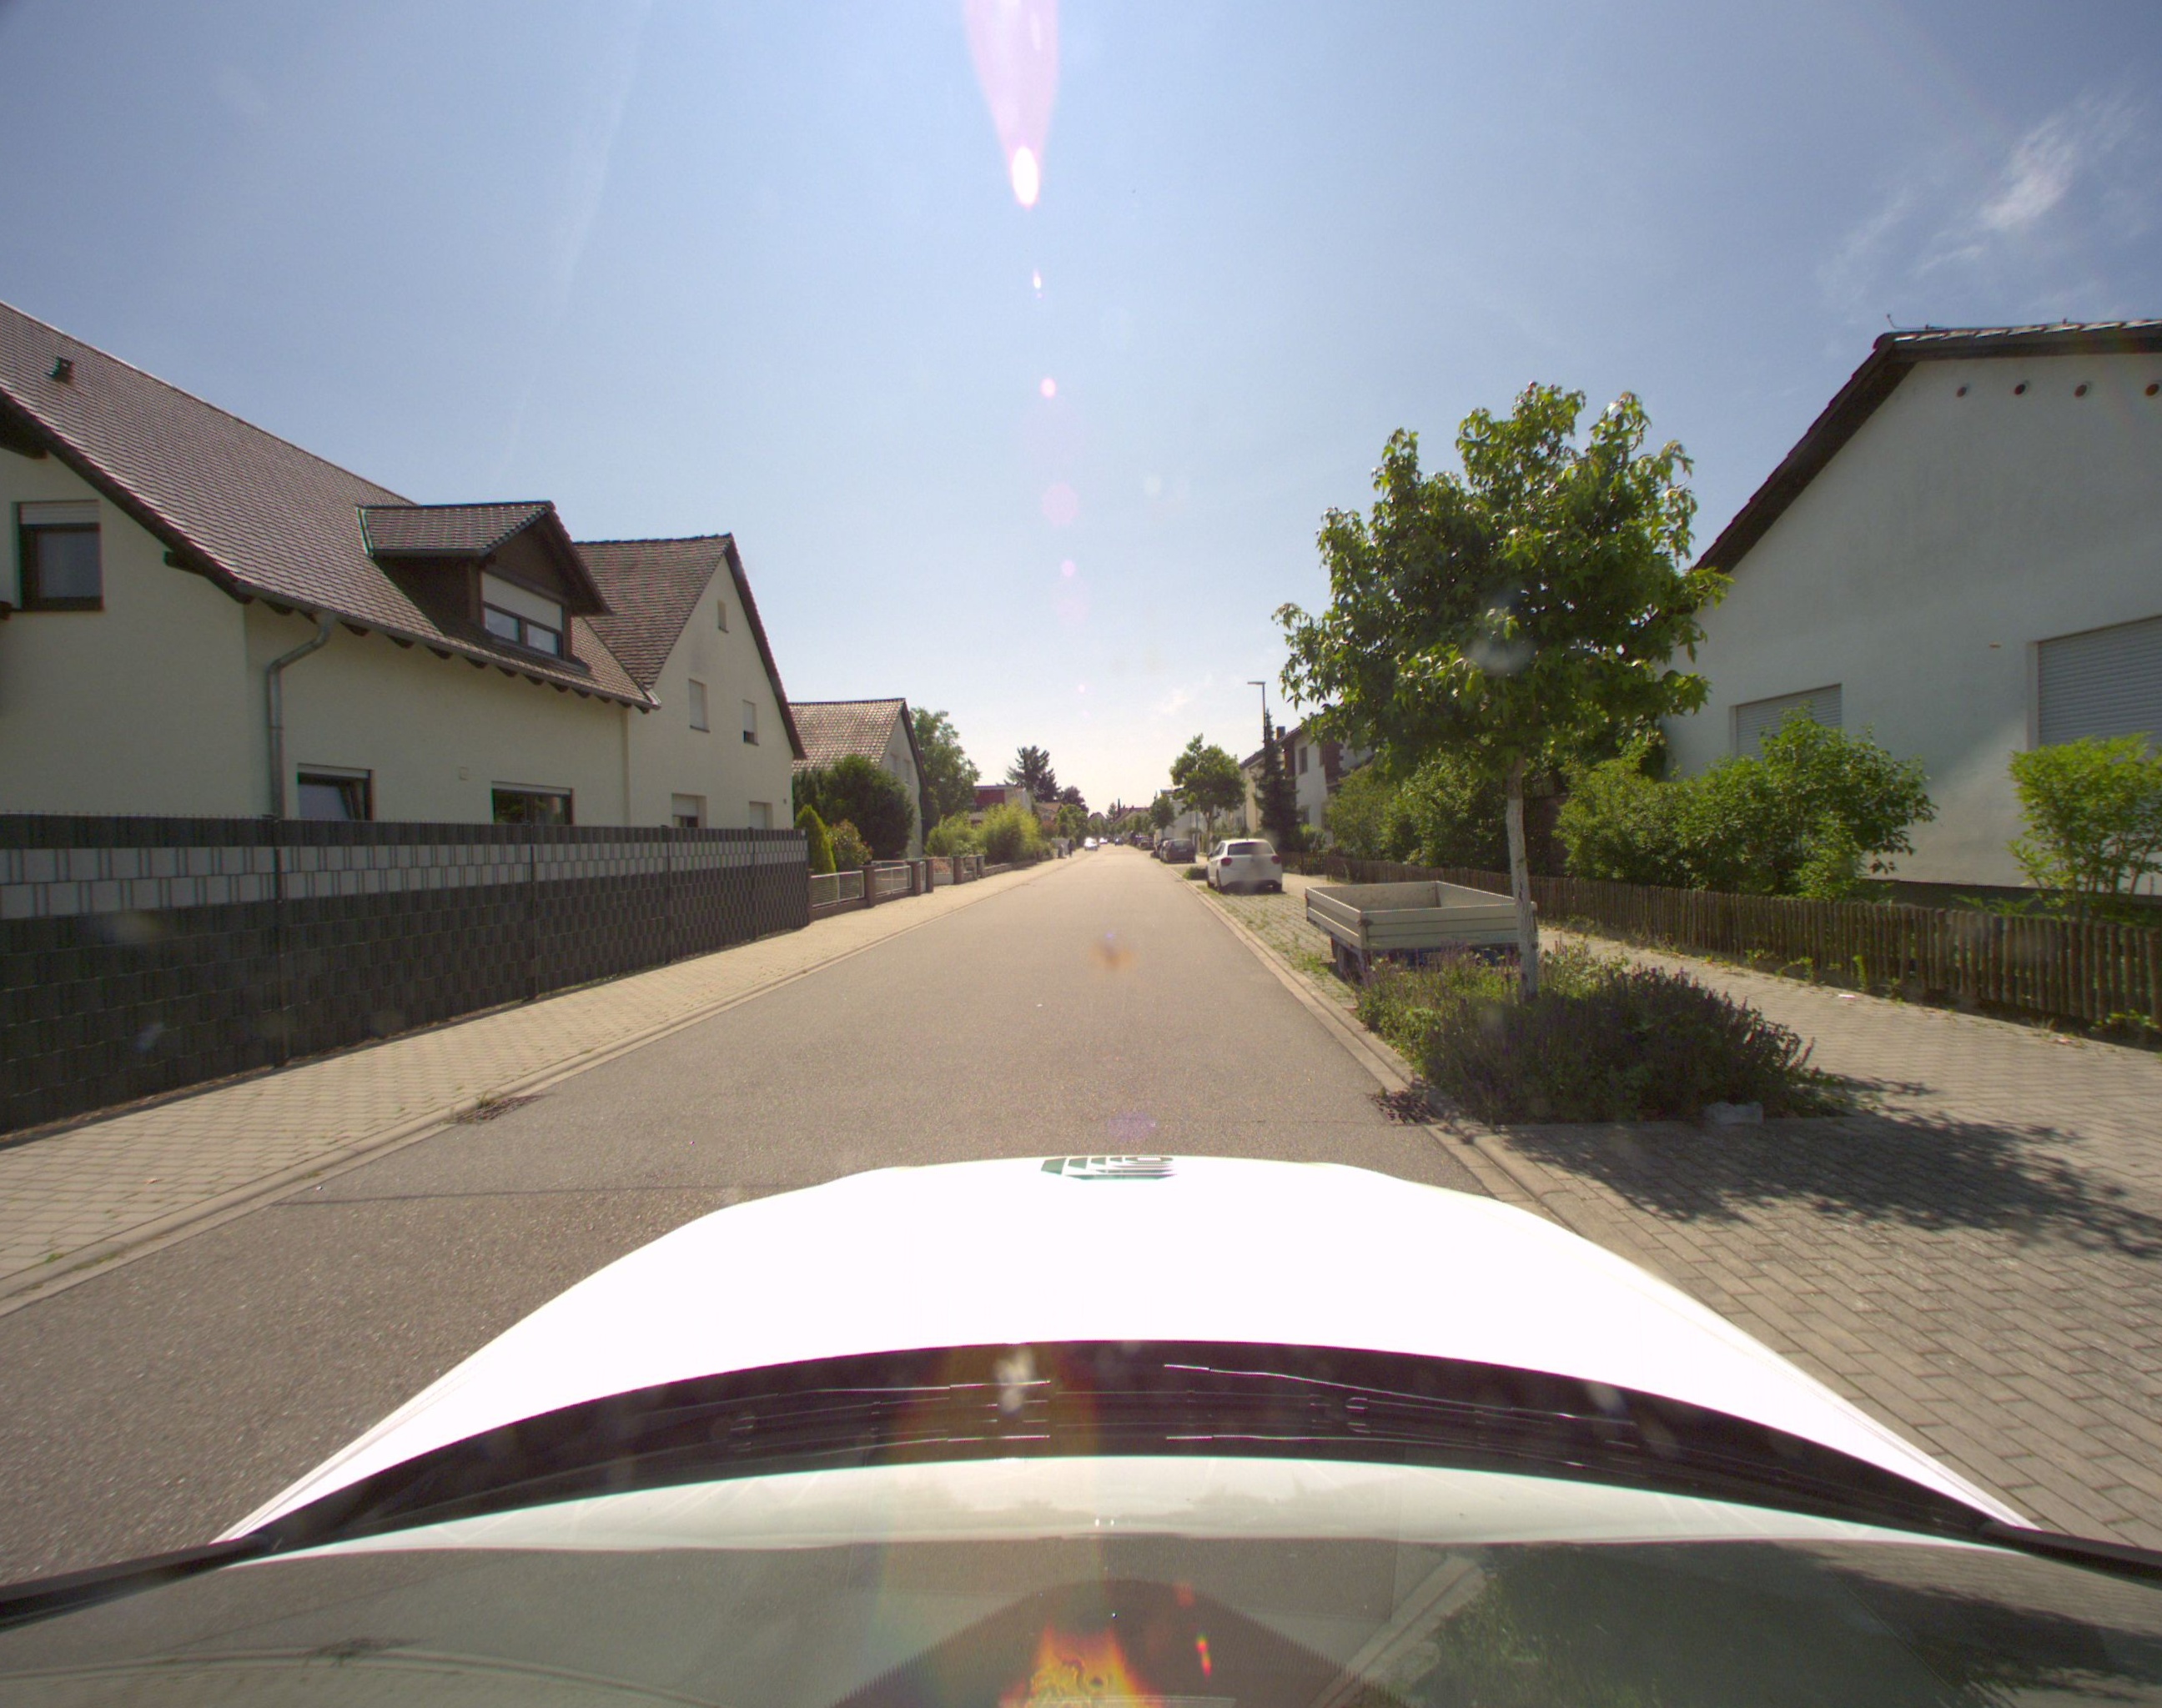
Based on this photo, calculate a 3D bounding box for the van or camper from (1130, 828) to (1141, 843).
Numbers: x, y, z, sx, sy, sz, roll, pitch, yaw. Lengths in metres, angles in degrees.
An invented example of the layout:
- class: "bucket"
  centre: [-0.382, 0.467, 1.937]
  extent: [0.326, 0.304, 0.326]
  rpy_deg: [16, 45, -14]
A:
- class: "van or camper"
  centre: [11.004, -3.694, 165.044]
  extent: [1.986, 2.941, 4.003]
  rpy_deg: [-2, 1, 2]

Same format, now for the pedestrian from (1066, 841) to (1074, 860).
- class: "pedestrian"
  centre: [-1.053, -0.351, 77.774]
  extent: [0.711, 1.747, 0.961]
  rpy_deg: [-1, 1, 3]

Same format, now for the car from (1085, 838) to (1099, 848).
- class: "car"
  centre: [1.616, -1.605, 117.976]
  extent: [1.844, 1.488, 4.389]
  rpy_deg: [-1, 1, 3]

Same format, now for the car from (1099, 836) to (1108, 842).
- class: "car"
  centre: [5.788, -3.903, 209.216]
  extent: [1.844, 1.478, 4.706]
  rpy_deg: [-1, 1, 4]

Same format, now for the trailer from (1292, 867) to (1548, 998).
- class: "trailer"
  centre: [3.492, 0.751, 8.954]
  extent: [1.779, 1.058, 2.902]
  rpy_deg: [-2, 1, 4]

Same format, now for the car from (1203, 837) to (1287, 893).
- class: "car"
  centre: [4.570, 0.248, 23.187]
  extent: [1.806, 1.420, 3.872]
  rpy_deg: [-2, 1, 3]

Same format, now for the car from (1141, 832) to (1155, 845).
- class: "car"
  centre: [10.348, -2.436, 125.783]
  extent: [2.090, 1.881, 4.848]
  rpy_deg: [-2, 1, 3]

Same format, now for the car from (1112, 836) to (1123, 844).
- class: "car"
  centre: [7.587, -2.933, 168.827]
  extent: [1.984, 1.430, 4.005]
  rpy_deg: [-2, 1, 4]

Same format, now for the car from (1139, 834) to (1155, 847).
- class: "car"
  centre: [8.855, -1.835, 109.180]
  extent: [1.767, 1.595, 4.279]
  rpy_deg: [-1, 1, 0]

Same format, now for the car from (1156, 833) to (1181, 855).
- class: "car"
  centre: [7.041, -0.866, 65.798]
  extent: [1.806, 1.656, 4.569]
  rpy_deg: [-2, 2, 3]

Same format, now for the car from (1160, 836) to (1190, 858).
- class: "car"
  centre: [6.460, -0.532, 56.493]
  extent: [1.806, 1.420, 4.097]
  rpy_deg: [-2, 1, 3]

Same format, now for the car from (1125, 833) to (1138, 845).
- class: "car"
  centre: [8.667, -2.605, 140.303]
  extent: [1.985, 1.947, 5.219]
  rpy_deg: [-3, 1, 3]

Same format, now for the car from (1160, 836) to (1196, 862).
- class: "car"
  centre: [6.023, -0.330, 50.765]
  extent: [1.735, 1.533, 4.450]
  rpy_deg: [-1, 1, 1]
